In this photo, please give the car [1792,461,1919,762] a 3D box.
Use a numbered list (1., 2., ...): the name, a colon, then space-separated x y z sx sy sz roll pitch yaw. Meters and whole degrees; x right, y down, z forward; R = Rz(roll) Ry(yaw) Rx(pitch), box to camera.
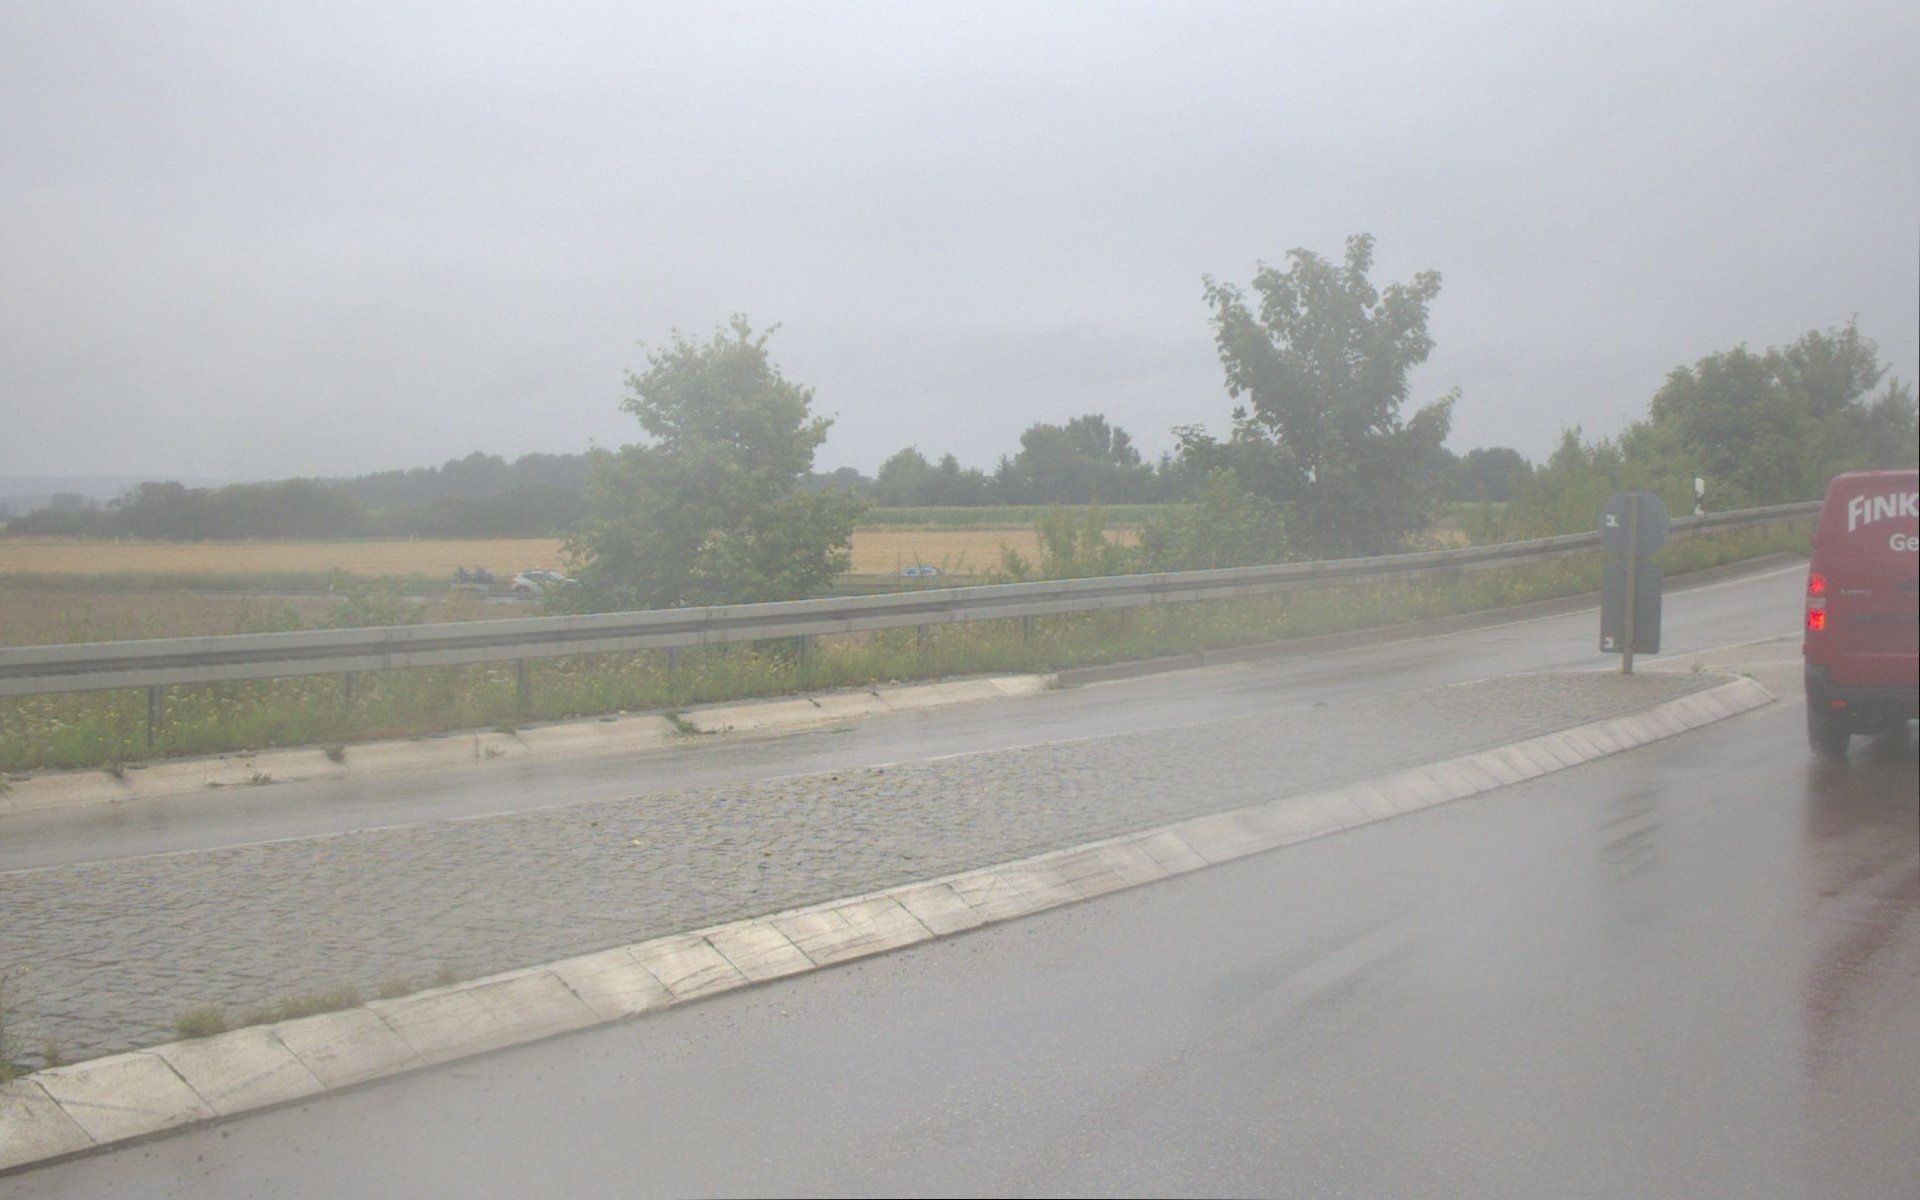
1. car: 7.177 -0.023 24.042 1.996 1.864 4.974 0 3 21
